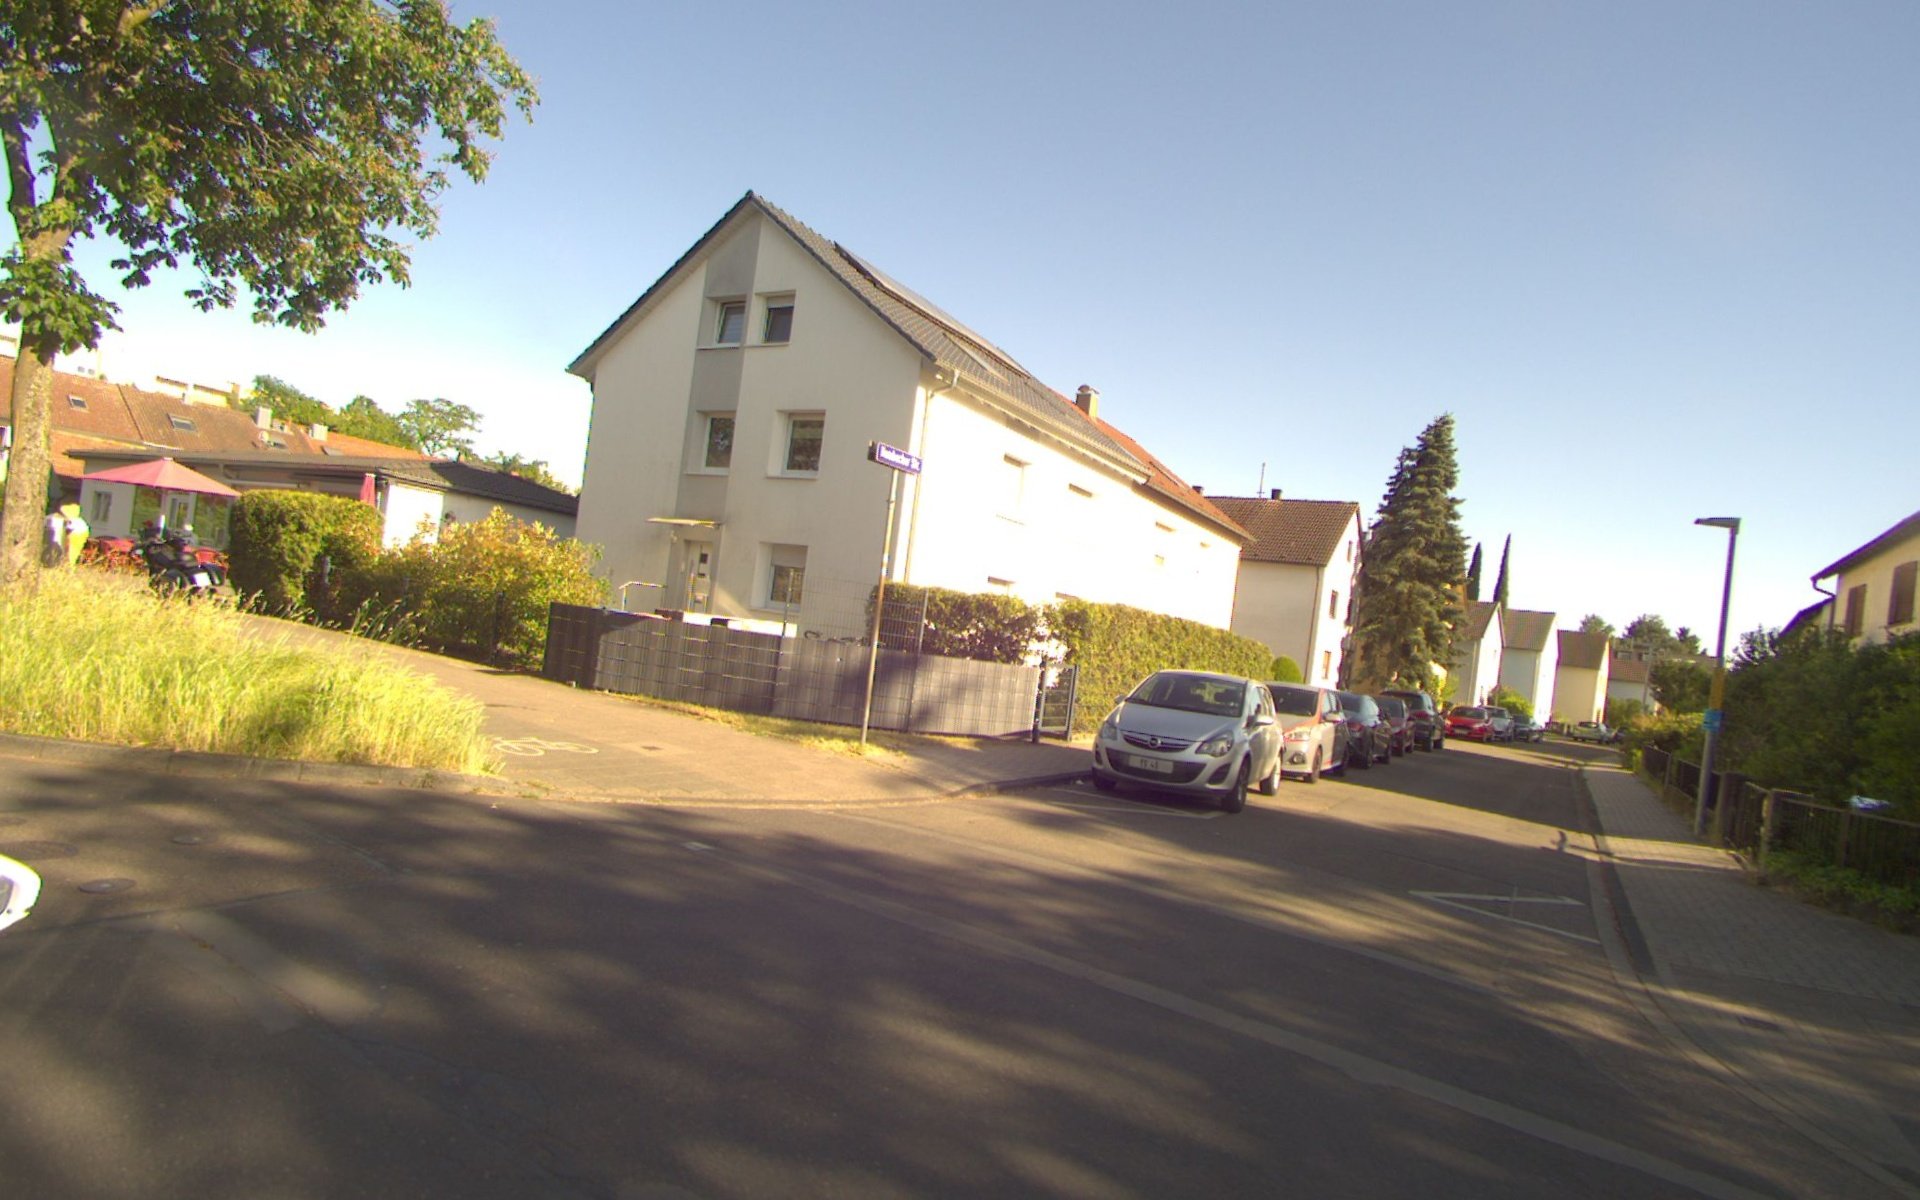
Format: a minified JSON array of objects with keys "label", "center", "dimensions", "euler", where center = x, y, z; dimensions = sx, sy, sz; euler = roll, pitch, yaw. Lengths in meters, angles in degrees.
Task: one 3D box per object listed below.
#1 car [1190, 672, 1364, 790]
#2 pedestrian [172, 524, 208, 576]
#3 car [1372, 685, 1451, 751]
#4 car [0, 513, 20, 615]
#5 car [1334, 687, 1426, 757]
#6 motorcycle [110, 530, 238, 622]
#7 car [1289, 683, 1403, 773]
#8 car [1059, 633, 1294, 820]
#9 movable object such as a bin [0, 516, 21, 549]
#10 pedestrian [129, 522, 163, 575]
[{"label":"car","center":[5.298,2.061,16.505],"dimensions":[1.818,1.461,3.754],"euler":[7,-1,30]},{"label":"pedestrian","center":[-22.348,-1.447,29.207],"dimensions":[0.656,1.426,0.489],"euler":[6,0,-30]},{"label":"car","center":[13.496,3.506,29.988],"dimensions":[1.620,1.626,3.691],"euler":[7,-2,30]},{"label":"car","center":[-13.617,-0.547,11.942],"dimensions":[4.304,1.638,2.003],"euler":[7,-5,26]},{"label":"car","center":[10.925,3.130,26.034],"dimensions":[1.620,1.474,3.691],"euler":[7,-2,30]},{"label":"motorcycle","center":[-12.957,-0.405,16.555],"dimensions":[2.312,1.242,0.819],"euler":[7,0,31]},{"label":"car","center":[7.801,2.467,20.145],"dimensions":[1.398,1.339,3.825],"euler":[8,1,30]},{"label":"car","center":[2.791,1.443,12.210],"dimensions":[1.745,1.659,3.999],"euler":[7,-2,26]},{"label":"movable object such as a bin","center":[-32.655,-2.322,34.458],"dimensions":[0.734,1.045,0.493],"euler":[6,1,31]},{"label":"pedestrian","center":[-22.920,-1.445,28.323],"dimensions":[0.629,1.400,0.440],"euler":[6,-3,37]}]
